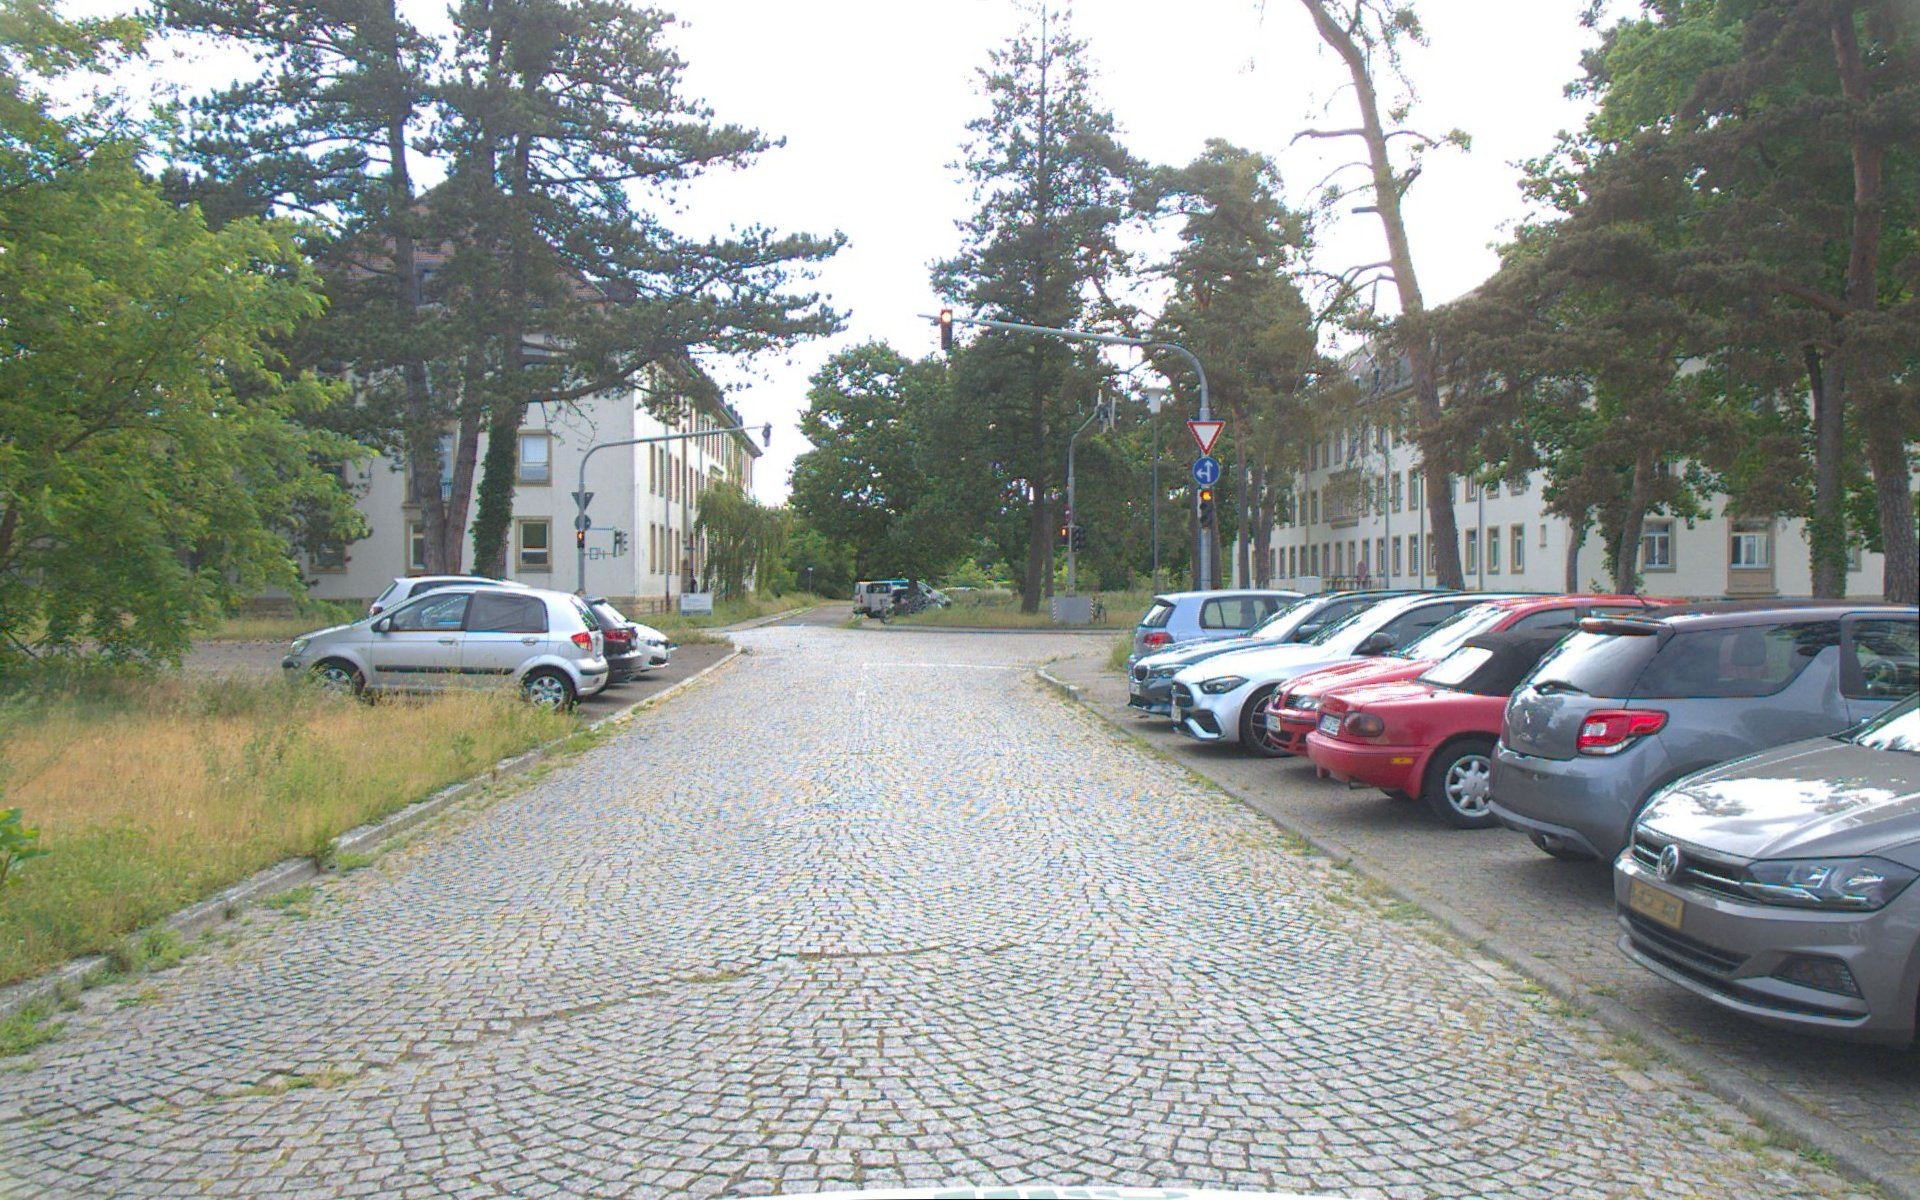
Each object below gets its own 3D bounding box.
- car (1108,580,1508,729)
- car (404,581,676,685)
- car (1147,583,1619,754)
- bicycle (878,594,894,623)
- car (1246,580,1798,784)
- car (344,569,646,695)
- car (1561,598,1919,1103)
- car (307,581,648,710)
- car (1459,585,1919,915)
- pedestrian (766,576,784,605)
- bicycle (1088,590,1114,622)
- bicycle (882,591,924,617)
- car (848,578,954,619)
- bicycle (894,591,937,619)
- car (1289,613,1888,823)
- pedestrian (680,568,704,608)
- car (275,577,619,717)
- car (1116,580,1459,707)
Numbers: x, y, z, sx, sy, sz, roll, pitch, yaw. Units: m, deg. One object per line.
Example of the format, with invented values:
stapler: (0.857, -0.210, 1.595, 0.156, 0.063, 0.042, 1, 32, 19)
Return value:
car: (3.939, 0.568, 18.905, 4.157, 1.505, 1.703, -1, 1, -14)
car: (-6.951, 0.522, 27.766, 4.218, 1.581, 1.808, -1, 1, -9)
car: (4.062, 0.602, 16.142, 4.109, 1.462, 1.751, -1, 1, -10)
bicycle: (-3.076, 0.350, 68.591, 0.649, 1.191, 1.887, 1, 0, -3)
car: (4.585, 0.627, 13.808, 4.025, 1.502, 1.683, -1, 1, -5)
car: (-7.011, 0.455, 25.306, 4.218, 1.762, 1.650, -1, 1, -9)
car: (4.517, 0.729, 5.960, 4.048, 1.472, 1.765, -1, 1, -3)
car: (-6.442, 0.574, 22.531, 4.218, 1.581, 1.808, -1, 1, -9)
car: (4.666, 0.696, 8.840, 3.436, 1.513, 1.742, -1, 1, -4)
pedestrian: (-13.087, -0.666, 117.073, 1.216, 1.993, 1.119, 1, 0, -8)
bicycle: (4.961, 0.209, 58.407, 0.649, 1.069, 1.887, 1, 1, -3)
bicycle: (-2.653, 0.187, 76.754, 1.846, 1.191, 0.664, 1, 0, -9)
car: (-3.160, -0.094, 88.044, 5.287, 2.138, 2.170, 0, 0, -16)
bicycle: (-1.979, 0.212, 73.292, 1.846, 1.191, 0.664, 1, 0, -9)
car: (4.215, 0.761, 11.442, 3.514, 1.244, 1.628, -1, 1, -2)
pedestrian: (-13.794, -0.611, 85.130, 1.053, 1.993, 1.121, 1, 0, -3)
car: (-6.083, 0.543, 19.952, 3.649, 1.506, 1.671, 2, 0, -6)
car: (4.205, 0.521, 21.476, 4.058, 1.489, 1.630, -1, 1, -9)
